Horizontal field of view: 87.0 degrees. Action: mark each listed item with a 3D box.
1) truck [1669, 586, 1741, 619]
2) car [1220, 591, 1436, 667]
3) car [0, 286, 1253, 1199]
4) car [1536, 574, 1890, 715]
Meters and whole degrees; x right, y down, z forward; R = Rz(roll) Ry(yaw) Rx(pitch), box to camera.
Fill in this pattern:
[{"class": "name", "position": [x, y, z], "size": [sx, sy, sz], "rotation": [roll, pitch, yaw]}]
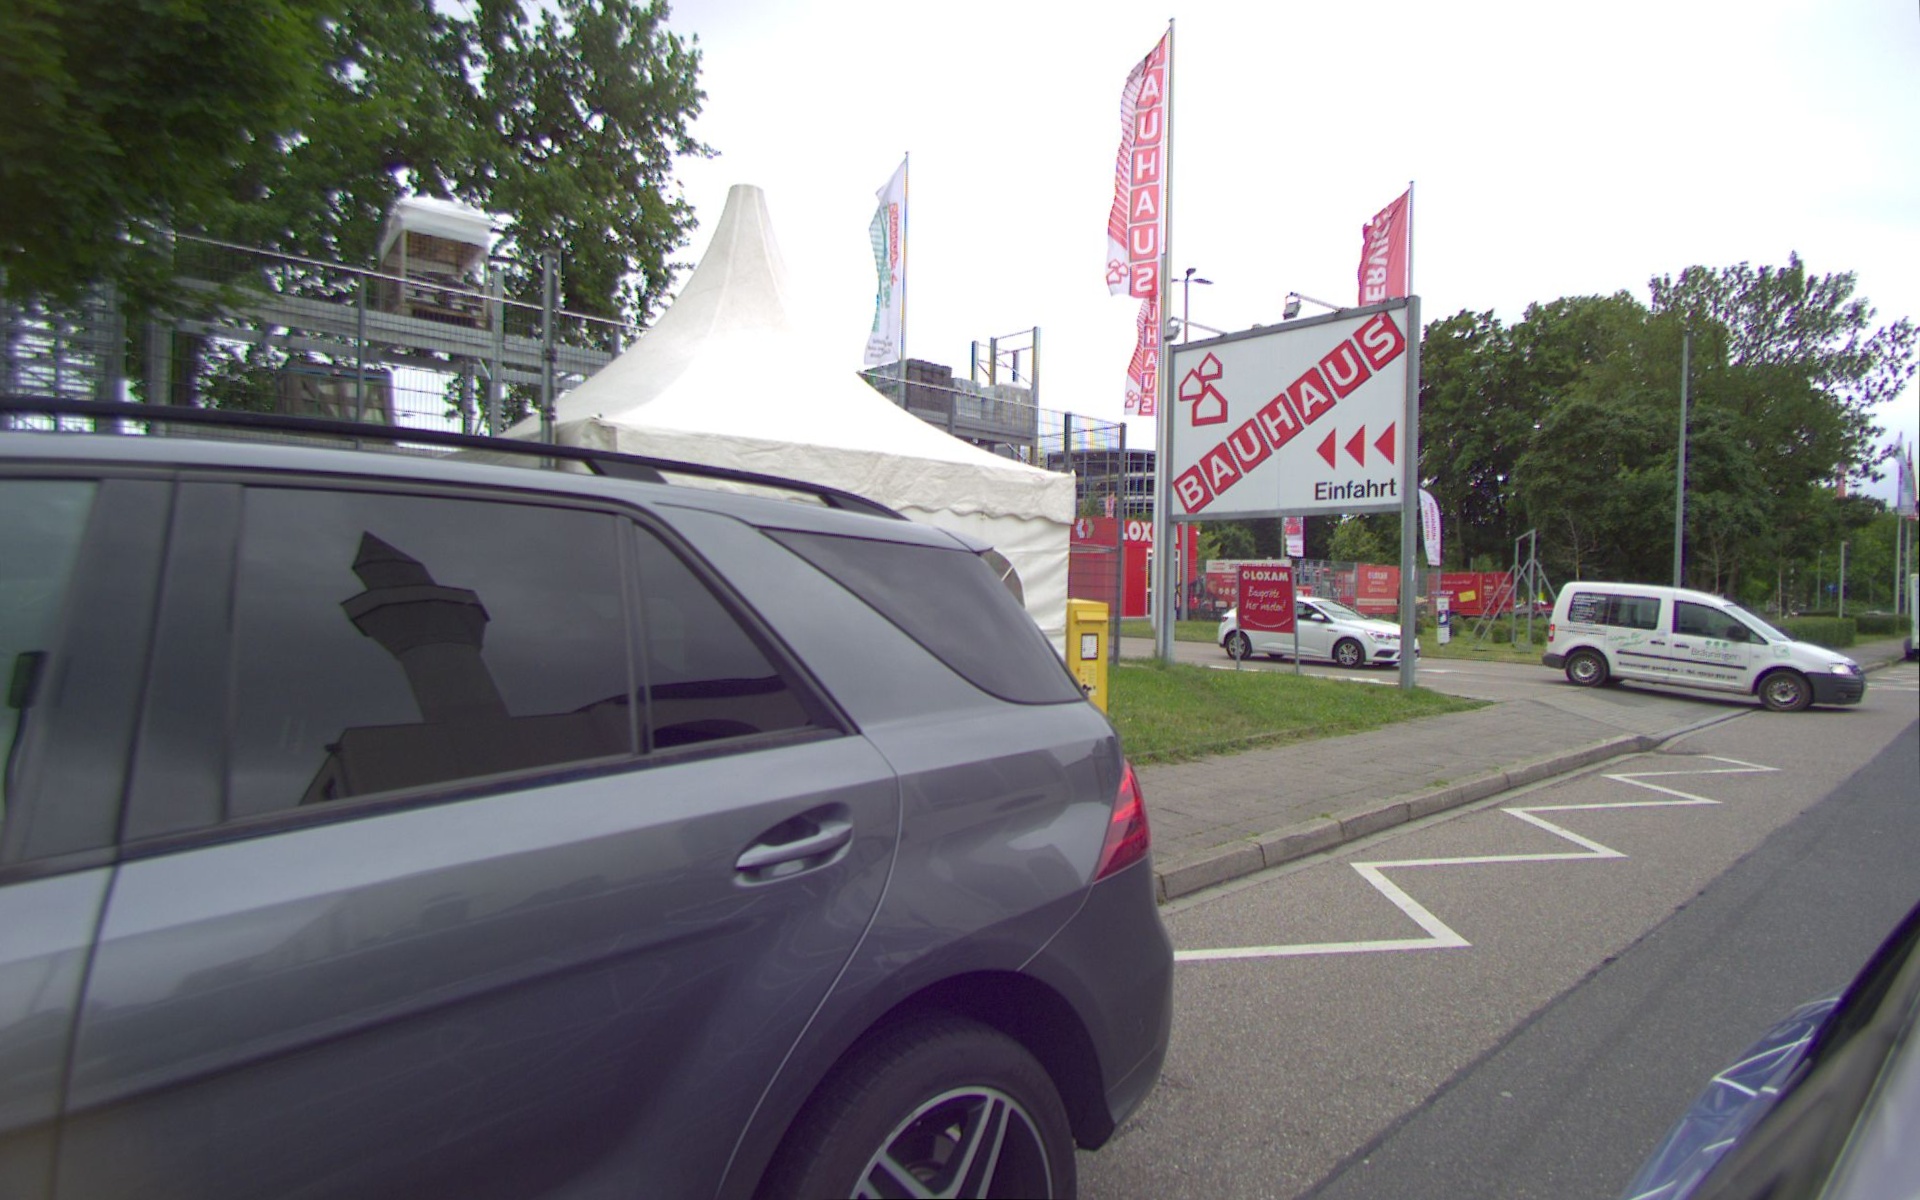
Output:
[{"class": "truck", "position": [56.342, 0.180, 76.566], "size": [3.923, 2.426, 2.001], "rotation": [1, 1, -1]}, {"class": "car", "position": [7.825, 0.555, 21.820], "size": [1.700, 1.438, 4.110], "rotation": [0, 1, -40]}, {"class": "car", "position": [-1.635, 0.613, 1.537], "size": [4.402, 1.763, 1.911], "rotation": [0, -2, -41]}, {"class": "car", "position": [12.284, 0.596, 16.746], "size": [1.770, 1.829, 4.377], "rotation": [0, 3, -42]}]
